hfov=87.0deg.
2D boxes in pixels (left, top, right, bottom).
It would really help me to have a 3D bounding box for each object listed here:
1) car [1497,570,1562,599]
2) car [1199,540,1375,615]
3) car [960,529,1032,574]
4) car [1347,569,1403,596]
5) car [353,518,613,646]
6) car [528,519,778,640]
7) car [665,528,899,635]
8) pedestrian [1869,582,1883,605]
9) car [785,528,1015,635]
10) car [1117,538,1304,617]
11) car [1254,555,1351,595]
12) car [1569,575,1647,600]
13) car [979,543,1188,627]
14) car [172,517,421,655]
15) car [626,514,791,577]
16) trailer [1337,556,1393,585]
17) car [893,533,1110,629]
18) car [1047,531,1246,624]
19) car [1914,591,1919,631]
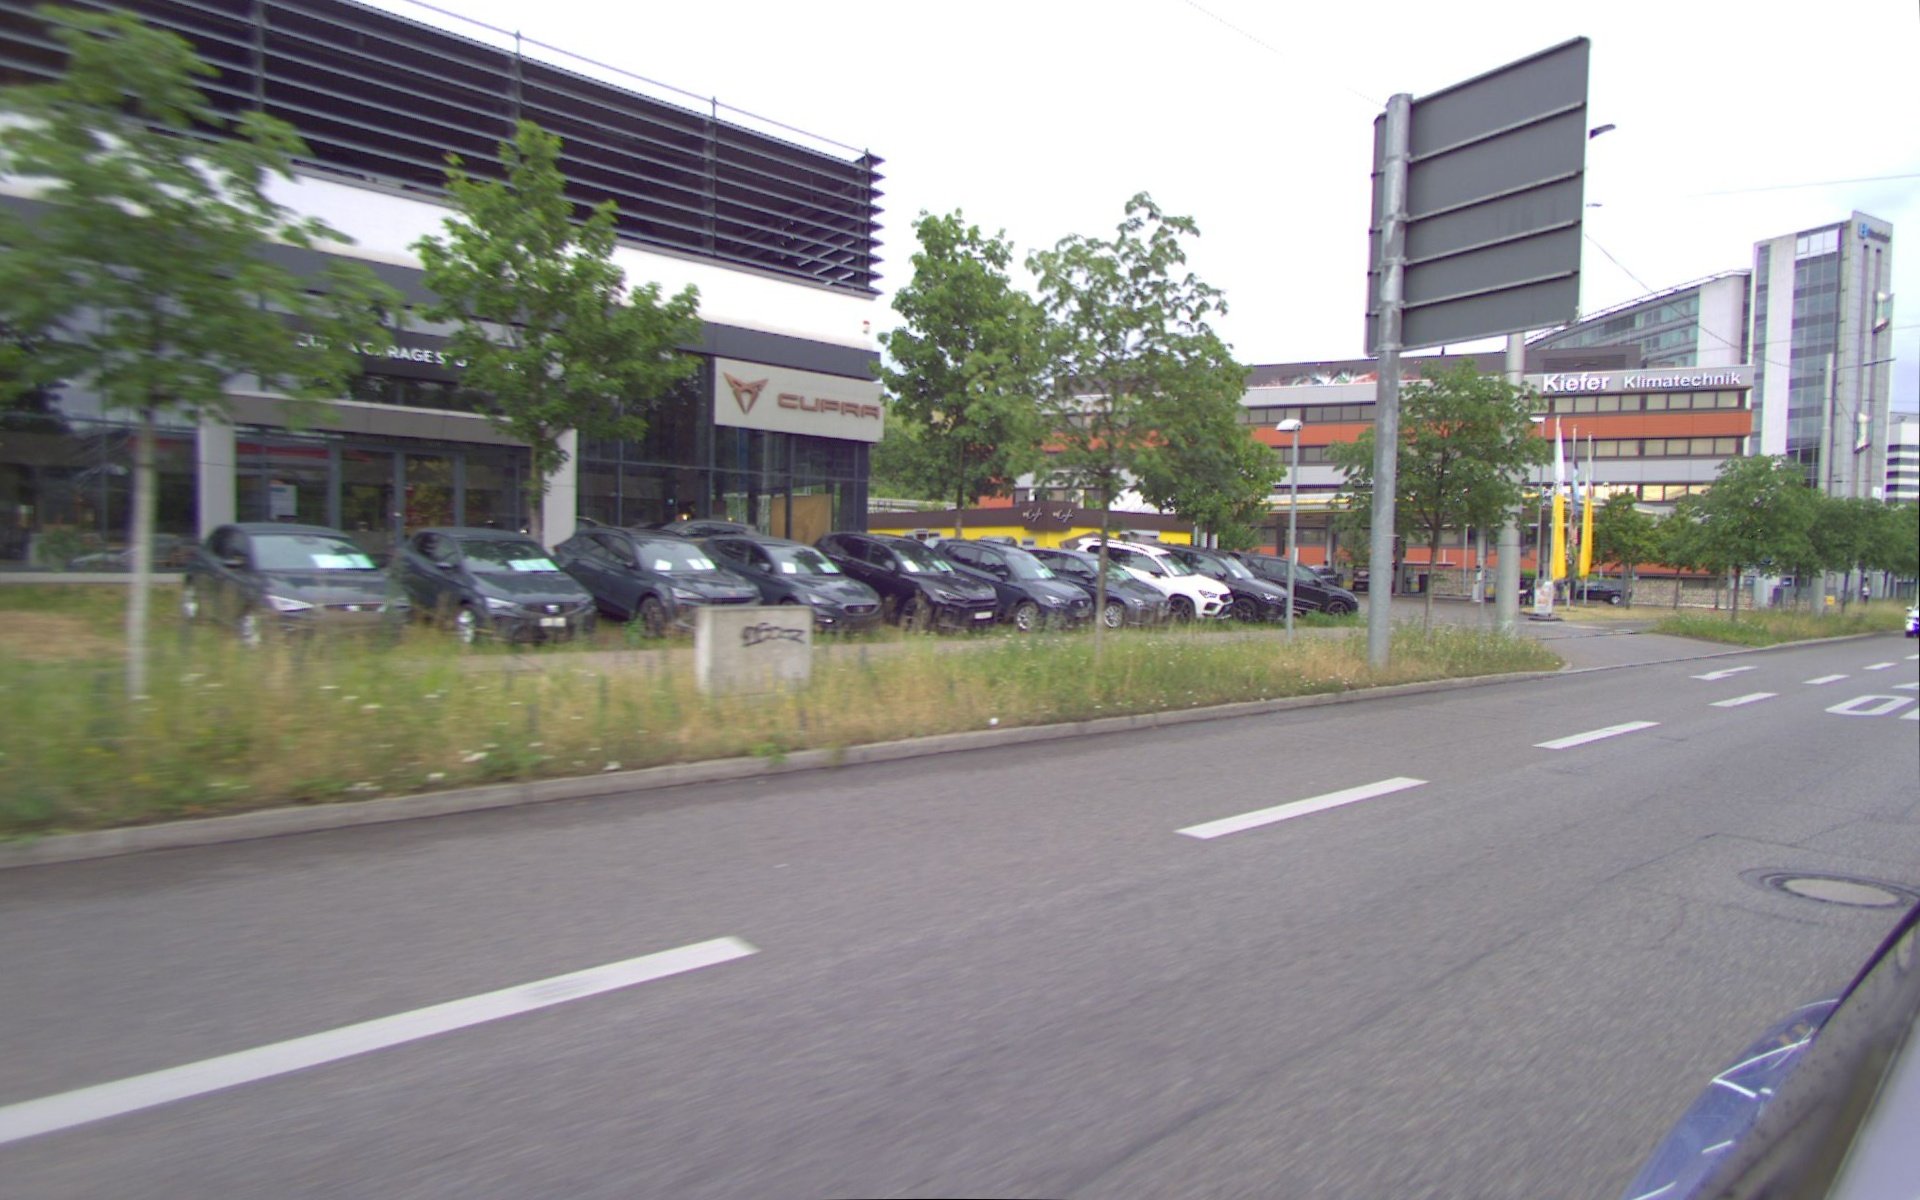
[{"bbox_3d":[30.605,-0.809,54.347,3.715,1.436,1.784,0,3,-40],"label":"car"},{"bbox_3d":[9.316,-0.681,29.072,4.306,1.838,1.880,3,3,-1],"label":"car"},{"bbox_3d":[1.521,-1.934,41.059,1.820,1.664,4.292,2,1,17],"label":"car"},{"bbox_3d":[28.440,-1.202,69.293,3.931,1.668,1.903,-1,6,-42],"label":"car"},{"bbox_3d":[-7.227,-0.365,15.126,4.481,1.588,1.795,5,4,40],"label":"car"},{"bbox_3d":[-5.177,-0.427,16.777,4.481,1.683,1.795,5,4,40],"label":"car"},{"bbox_3d":[-3.328,-0.413,18.322,4.485,1.638,1.794,5,4,42],"label":"car"},{"bbox_3d":[74.357,-0.530,82.166,0.676,1.925,0.672,-1,0,28],"label":"pedestrian"},{"bbox_3d":[-1.267,-0.452,20.058,4.478,1.817,1.796,5,4,38],"label":"car"},{"bbox_3d":[6.545,-0.639,26.628,4.367,1.811,1.854,4,4,37],"label":"car"},{"bbox_3d":[16.051,-1.168,47.340,4.629,1.757,2.000,0,3,-37],"label":"car"},{"bbox_3d":[44.130,-0.834,69.070,4.320,1.667,1.776,-1,0,29],"label":"car"},{"bbox_3d":[2.792,-0.411,23.435,4.476,1.657,1.797,4,4,37],"label":"car"},{"bbox_3d":[-8.857,-0.280,13.382,4.039,1.519,1.663,5,4,40],"label":"car"},{"bbox_3d":[-6.576,-1.389,26.631,3.831,1.491,1.783,0,2,-41],"label":"car"},{"bbox_3d":[31.466,-2.309,78.598,3.957,2.173,1.824,2,2,24],"label":"trailer"},{"bbox_3d":[0.818,-0.483,21.869,4.478,1.773,1.796,5,4,38],"label":"car"},{"bbox_3d":[4.570,-0.627,25.085,4.469,2.015,1.800,4,3,33],"label":"car"},{"bbox_3d":[38.717,0.436,39.360,3.768,1.513,1.878,0,2,-40],"label":"car"}]
